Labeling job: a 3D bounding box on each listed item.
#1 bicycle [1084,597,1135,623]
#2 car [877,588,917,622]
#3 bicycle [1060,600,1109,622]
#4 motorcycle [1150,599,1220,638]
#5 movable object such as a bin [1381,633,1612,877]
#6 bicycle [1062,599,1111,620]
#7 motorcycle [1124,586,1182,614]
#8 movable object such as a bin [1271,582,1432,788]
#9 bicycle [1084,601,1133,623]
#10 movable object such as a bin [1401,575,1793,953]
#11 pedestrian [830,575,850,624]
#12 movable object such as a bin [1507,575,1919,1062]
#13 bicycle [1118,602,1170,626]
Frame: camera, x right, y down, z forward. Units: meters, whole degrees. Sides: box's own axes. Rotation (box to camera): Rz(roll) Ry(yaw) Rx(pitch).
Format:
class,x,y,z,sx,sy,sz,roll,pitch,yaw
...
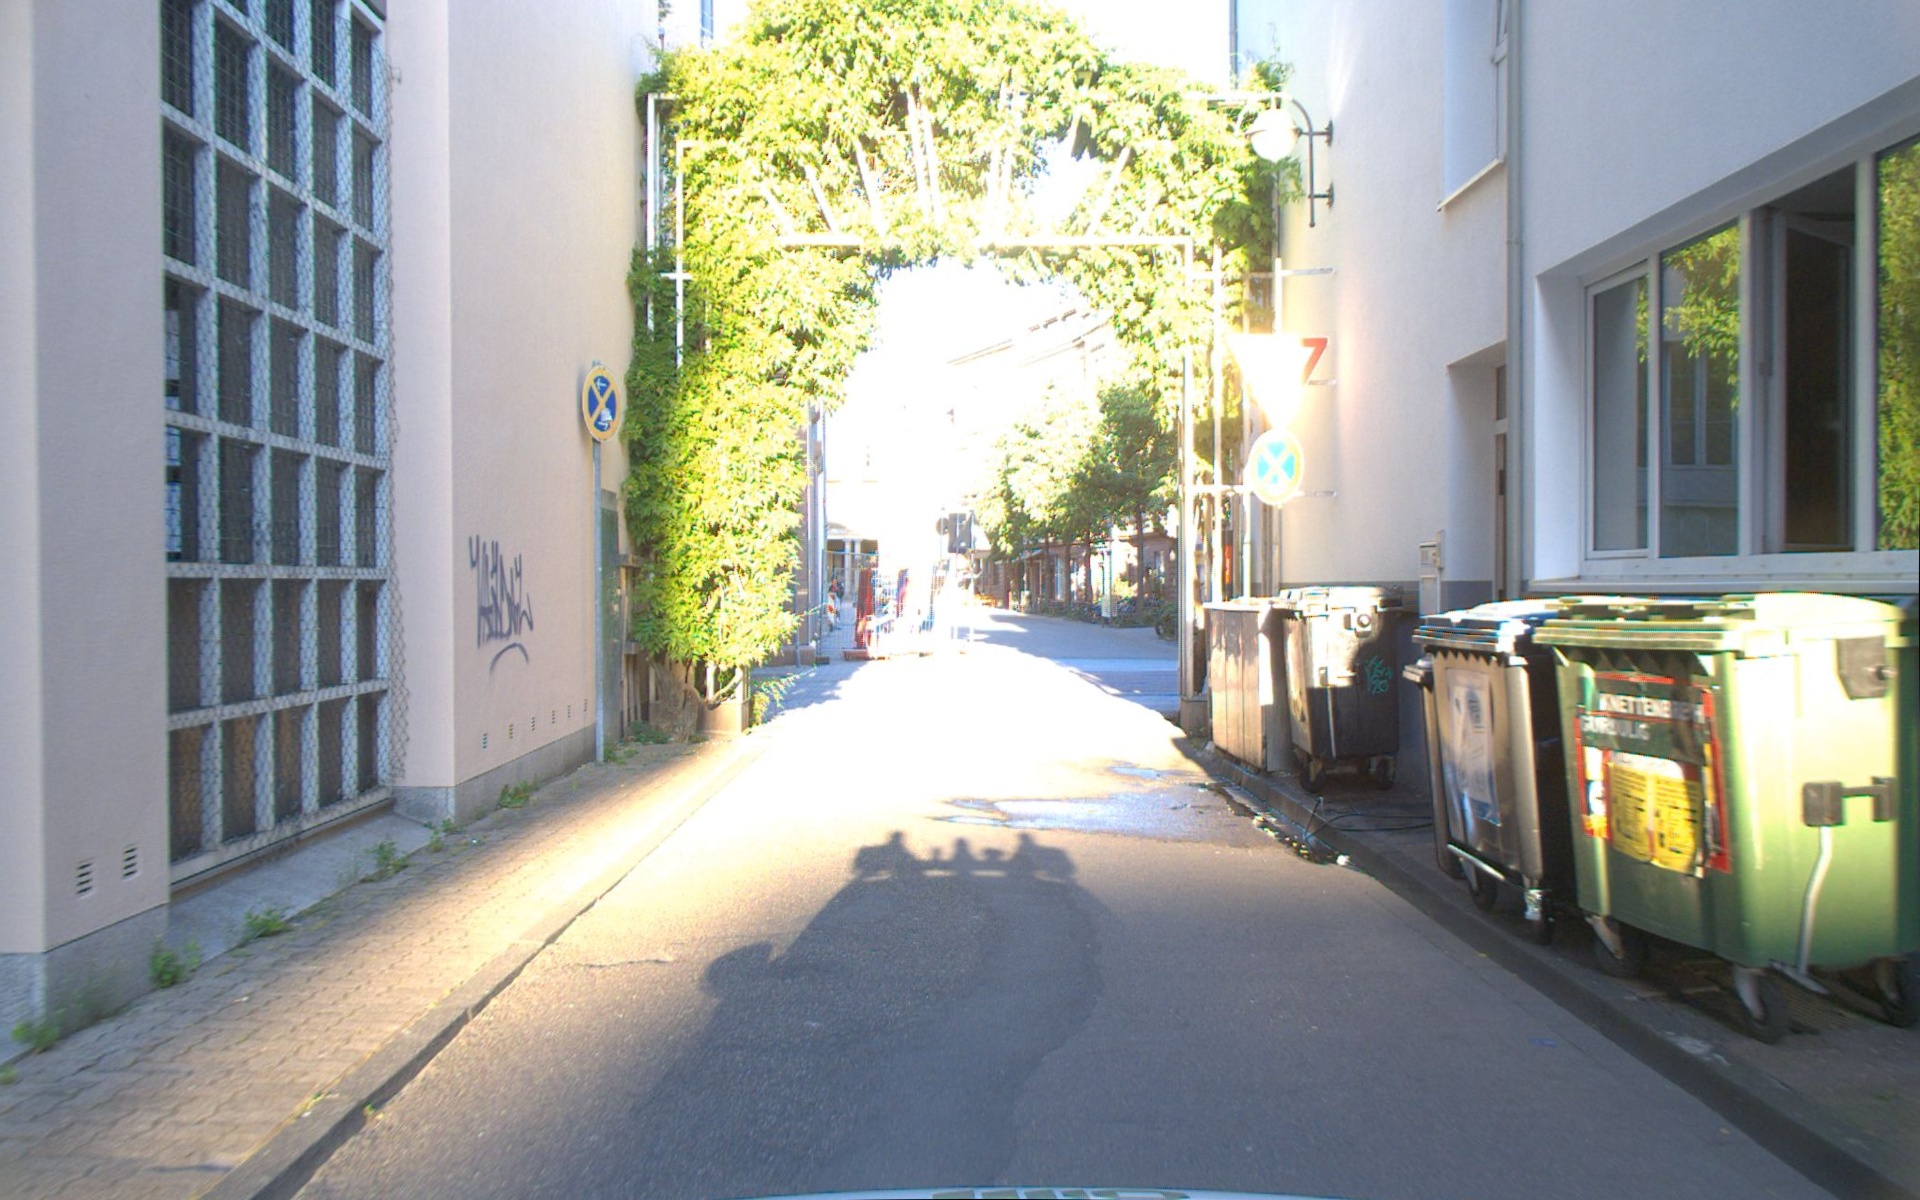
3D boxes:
class,x,y,z,sx,sy,sz,roll,pitch,yaw
bicycle,6.449,0.442,71.413,2.107,1.080,0.591,-1,-1,12
car,-3.353,0.260,87.355,1.807,1.713,3.639,-1,0,-7
bicycle,5.631,0.498,74.725,2.113,0.942,0.589,-1,-1,-10
motorcycle,7.097,0.584,52.081,2.111,1.171,0.493,-1,-1,-5
movable object such as a bin,2.637,0.740,8.201,0.851,1.093,0.738,-3,0,-3
bicycle,5.786,0.438,75.719,2.113,0.942,0.589,-1,-1,-10
motorcycle,7.988,0.011,68.458,2.439,1.114,0.586,-1,-1,-25
movable object such as a bin,2.719,0.560,11.625,0.818,1.327,1.290,-2,0,2
bicycle,6.627,0.532,73.753,2.113,0.942,0.589,-1,-1,-10
movable object such as a bin,2.609,0.616,6.972,1.043,1.390,1.341,-3,0,-3
pedestrian,-4.512,-0.021,62.149,0.641,1.795,0.634,-1,0,2
movable object such as a bin,2.601,0.633,5.567,0.919,1.390,1.340,-3,0,-7
bicycle,7.709,0.582,69.366,2.119,0.942,0.588,-1,-1,-18
